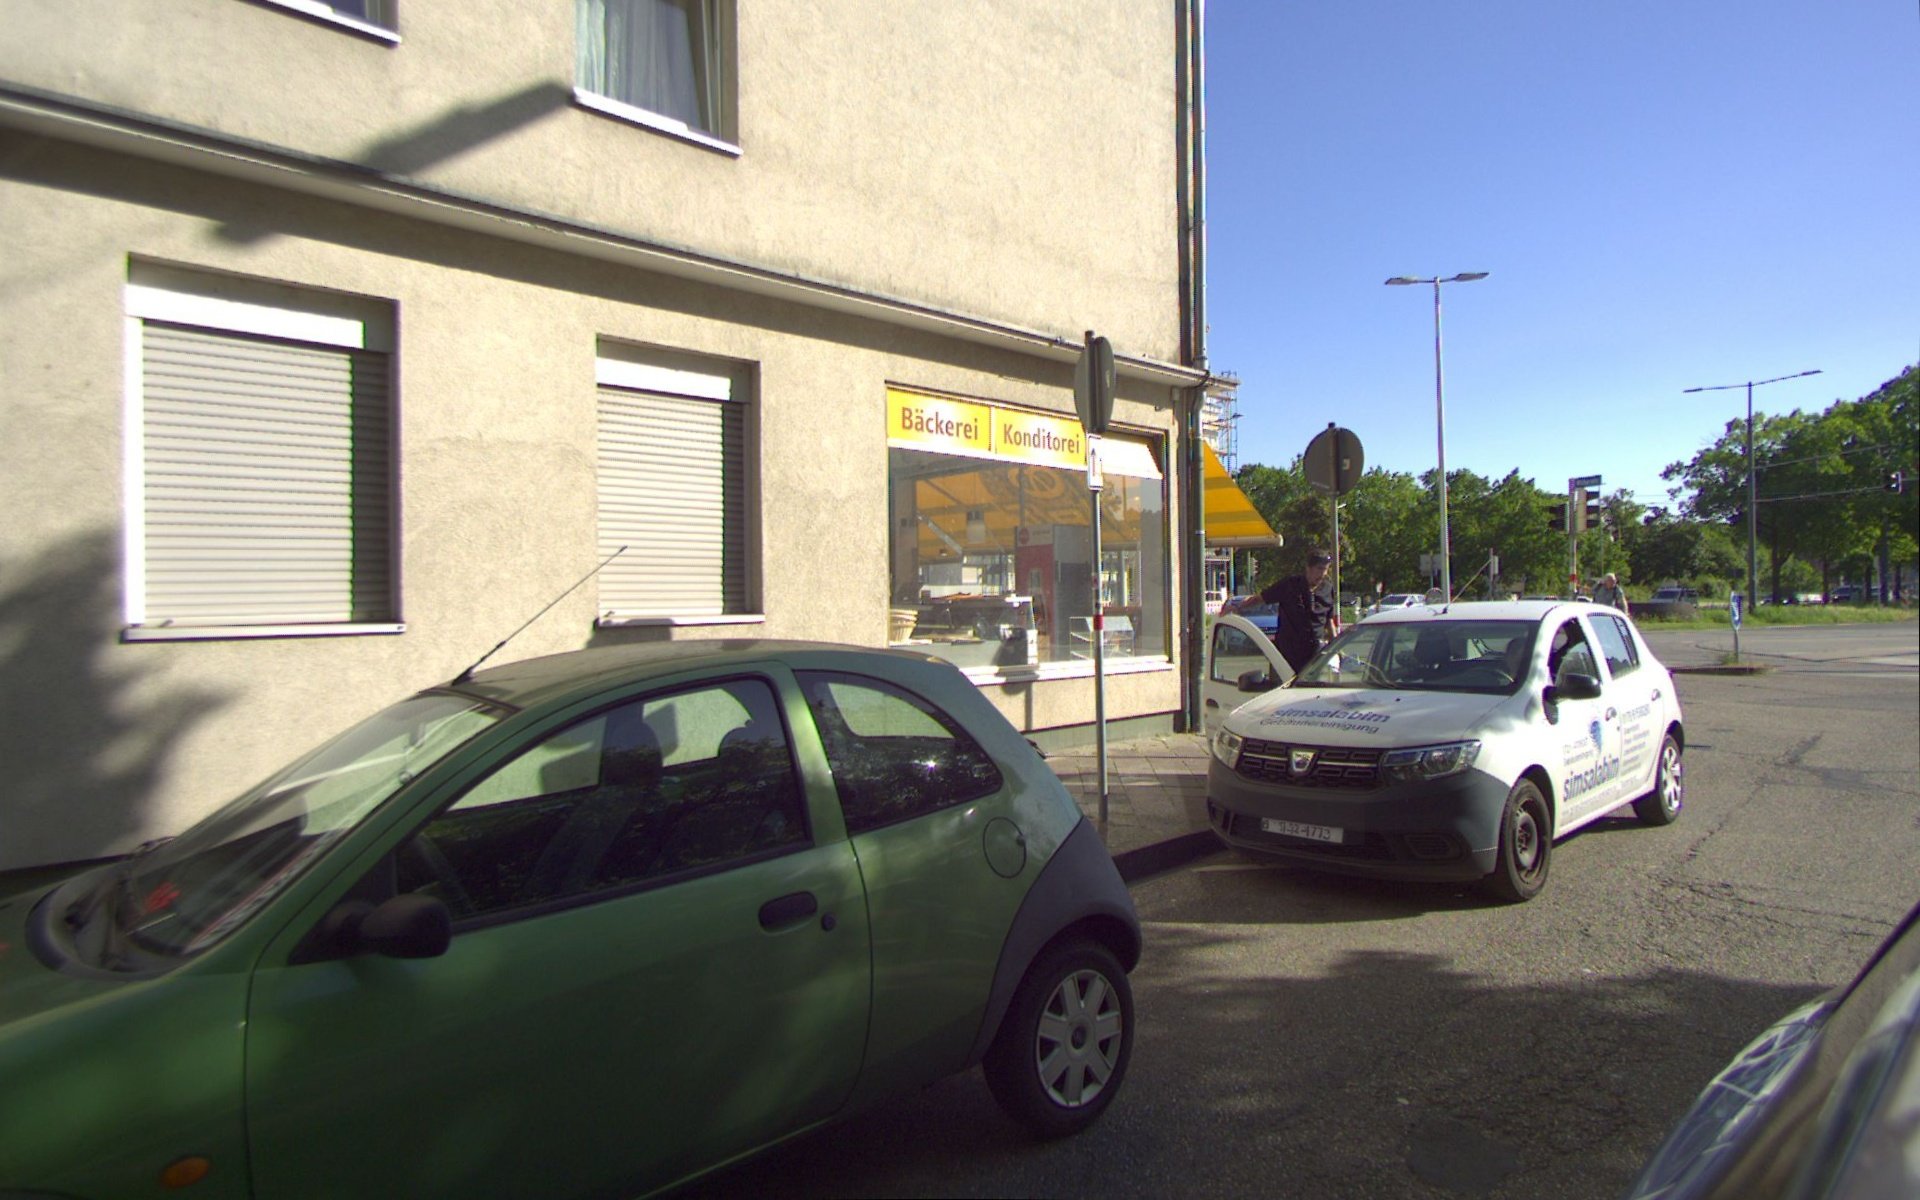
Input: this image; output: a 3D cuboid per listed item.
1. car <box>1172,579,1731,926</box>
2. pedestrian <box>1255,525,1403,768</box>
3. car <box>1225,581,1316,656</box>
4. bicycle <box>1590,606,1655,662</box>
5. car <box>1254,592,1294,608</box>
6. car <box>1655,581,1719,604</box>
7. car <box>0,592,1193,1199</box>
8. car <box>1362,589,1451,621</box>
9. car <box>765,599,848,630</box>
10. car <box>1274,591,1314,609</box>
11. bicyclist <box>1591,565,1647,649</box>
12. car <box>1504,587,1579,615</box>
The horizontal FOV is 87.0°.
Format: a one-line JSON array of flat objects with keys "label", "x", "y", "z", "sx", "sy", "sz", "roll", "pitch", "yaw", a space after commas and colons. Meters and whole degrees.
[{"label": "car", "x": 3.268, "y": 0.651, "z": 6.382, "sx": 3.952, "sy": 1.516, "sz": 1.722, "roll": -1, "pitch": 0, "yaw": -40}, {"label": "pedestrian", "x": 2.829, "y": 0.330, "z": 7.780, "sx": 0.731, "sy": 1.744, "sz": 0.761, "roll": 0, "pitch": -1, "yaw": -35}, {"label": "car", "x": 8.057, "y": 0.443, "z": 26.612, "sx": 1.845, "sy": 1.798, "sz": 4.469, "roll": -1, "pitch": 0, "yaw": 12}, {"label": "bicycle", "x": 12.694, "y": 0.624, "z": 19.439, "sx": 0.821, "sy": 0.999, "sz": 1.928, "roll": -1, "pitch": 0, "yaw": 27}, {"label": "car", "x": 29.084, "y": -0.007, "z": 93.806, "sx": 3.618, "sy": 1.412, "sz": 1.820, "roll": -1, "pitch": 0, "yaw": -39}, {"label": "car", "x": 47.389, "y": -0.500, "z": 65.942, "sx": 4.398, "sy": 1.474, "sz": 1.874, "roll": -1, "pitch": 0, "yaw": -33}, {"label": "car", "x": -1.176, "y": 0.753, "z": 2.558, "sx": 3.608, "sy": 1.482, "sz": 1.599, "roll": -1, "pitch": 0, "yaw": -41}, {"label": "car", "x": 21.907, "y": 0.223, "z": 49.609, "sx": 4.398, "sy": 1.474, "sz": 1.874, "roll": -1, "pitch": 0, "yaw": -33}, {"label": "car", "x": -7.469, "y": 0.713, "z": 49.521, "sx": 3.921, "sy": 1.434, "sz": 1.690, "roll": -1, "pitch": 0, "yaw": -4}, {"label": "car", "x": 30.339, "y": -0.031, "z": 91.941, "sx": 3.618, "sy": 1.604, "sz": 1.820, "roll": -1, "pitch": 0, "yaw": -39}, {"label": "bicyclist", "x": 12.757, "y": 0.126, "z": 19.607, "sx": 0.820, "sy": 1.584, "sz": 0.590, "roll": -1, "pitch": 0, "yaw": 27}, {"label": "car", "x": 32.701, "y": 0.047, "z": 56.866, "sx": 4.398, "sy": 1.474, "sz": 1.874, "roll": -1, "pitch": 0, "yaw": -33}]
